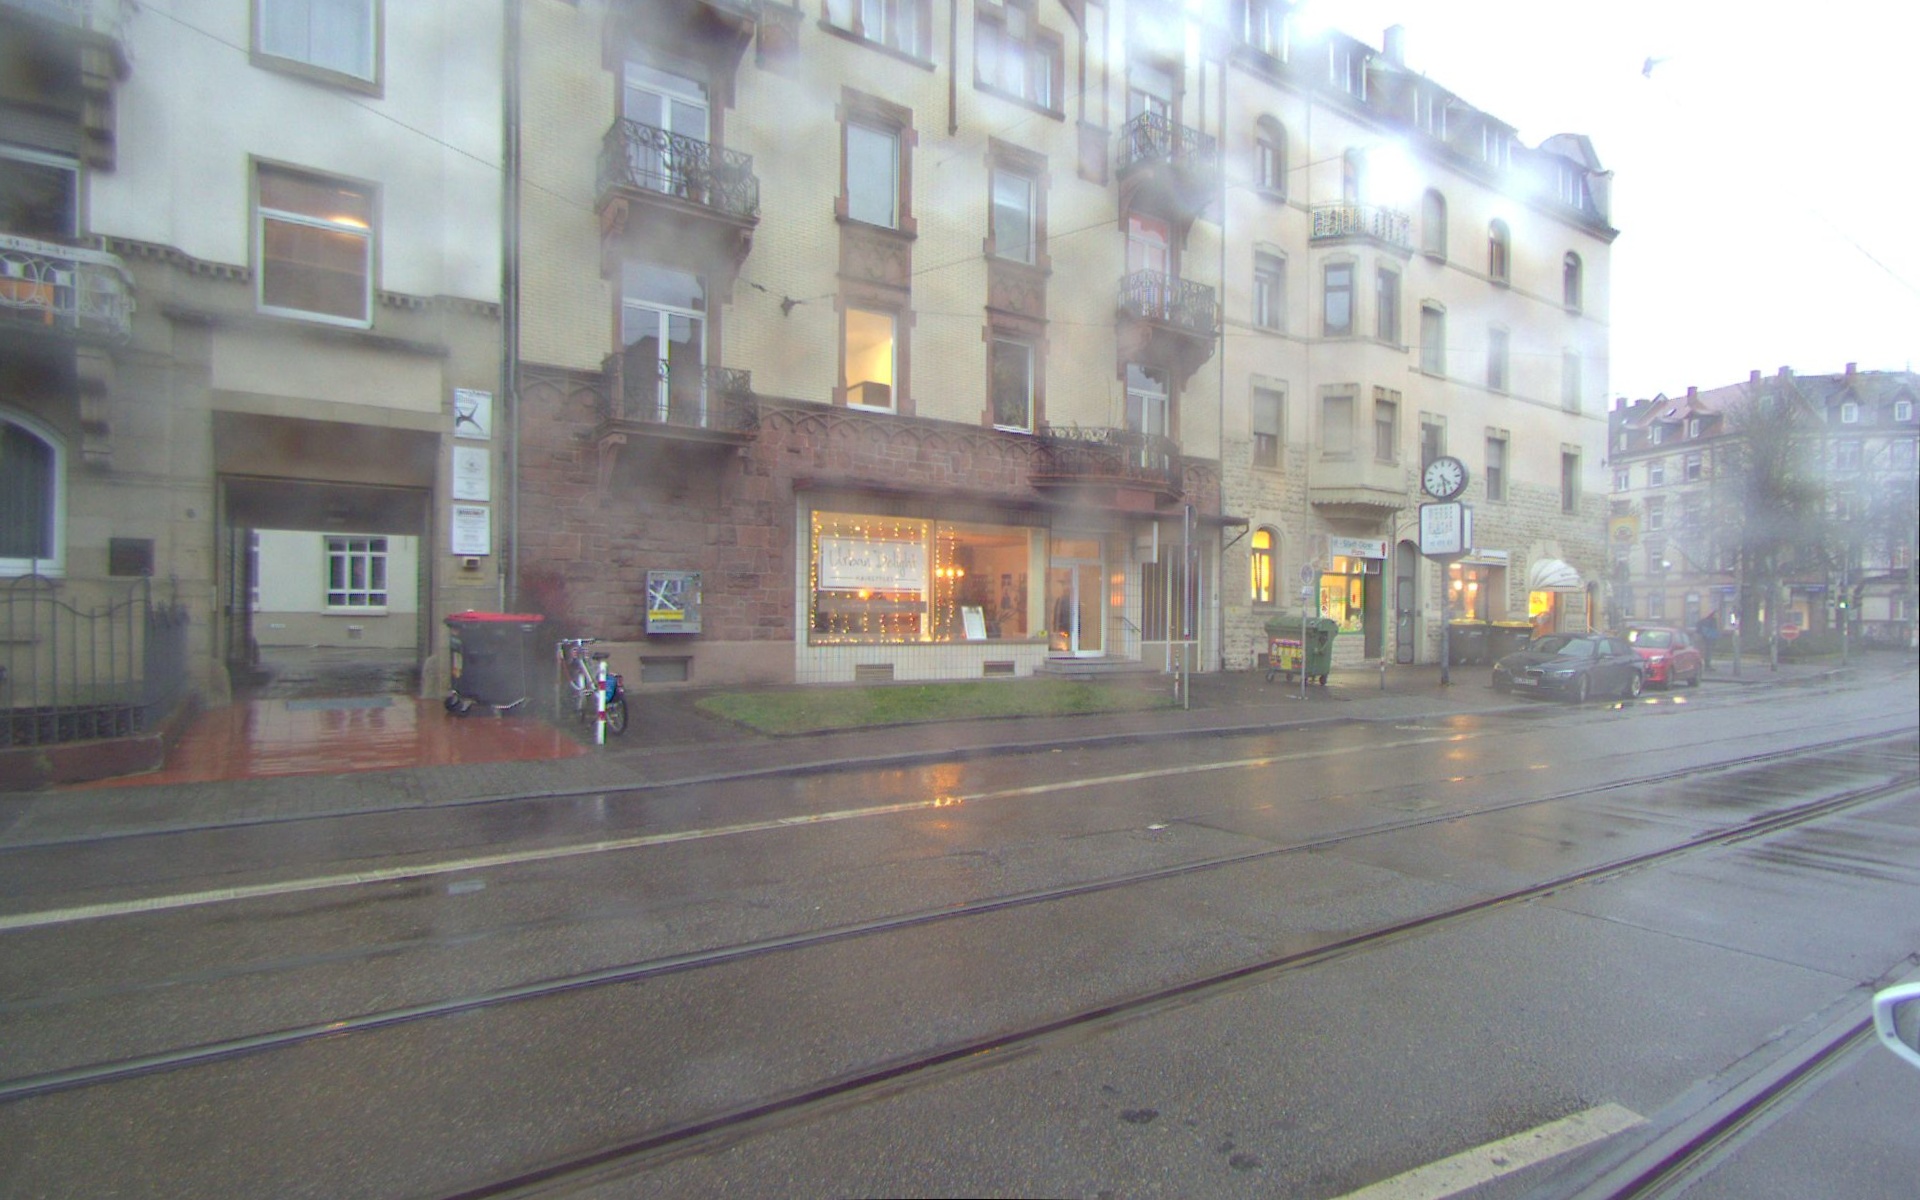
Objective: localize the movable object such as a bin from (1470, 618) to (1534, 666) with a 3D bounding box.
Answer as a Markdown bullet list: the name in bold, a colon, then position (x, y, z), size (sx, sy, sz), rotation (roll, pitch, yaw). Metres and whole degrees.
- **movable object such as a bin**: position (16.339, 1.260, 30.282), size (1.239, 1.385, 1.286), rotation (1, 0, -34)

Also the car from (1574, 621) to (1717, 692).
- **car**: position (18.299, 1.430, 26.780), size (3.997, 1.573, 2.021), rotation (0, 3, -39)

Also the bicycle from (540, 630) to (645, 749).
- **bicycle**: position (-4.347, 0.983, 11.762), size (0.687, 1.120, 2.336), rotation (1, 1, -32)

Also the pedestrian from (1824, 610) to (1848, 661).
- **pedestrian**: position (35.463, 1.438, 40.668), size (0.695, 2.040, 0.658), rotation (0, 0, 37)

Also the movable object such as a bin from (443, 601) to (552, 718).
- **movable object such as a bin**: position (-6.066, 0.741, 13.148), size (1.155, 1.398, 1.096), rotation (1, 2, -32)

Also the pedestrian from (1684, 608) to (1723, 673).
- **pedestrian**: position (23.819, 1.279, 32.188), size (0.635, 2.040, 0.758), rotation (1, 0, 3)

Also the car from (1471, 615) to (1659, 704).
- **car**: position (13.814, 1.303, 22.863), size (4.587, 1.667, 1.972), rotation (2, 3, -37)

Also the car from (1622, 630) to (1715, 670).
- **car**: position (33.302, 2.304, 47.369), size (1.981, 1.695, 4.003), rotation (1, -1, 9)

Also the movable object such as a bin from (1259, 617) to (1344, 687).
- **movable object such as a bin**: position (7.434, 1.106, 21.900), size (1.236, 1.439, 1.260), rotation (1, 0, -33)

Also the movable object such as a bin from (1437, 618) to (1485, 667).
- **movable object such as a bin**: position (14.931, 1.253, 29.933), size (0.996, 1.396, 0.893), rotation (1, 0, -33)
